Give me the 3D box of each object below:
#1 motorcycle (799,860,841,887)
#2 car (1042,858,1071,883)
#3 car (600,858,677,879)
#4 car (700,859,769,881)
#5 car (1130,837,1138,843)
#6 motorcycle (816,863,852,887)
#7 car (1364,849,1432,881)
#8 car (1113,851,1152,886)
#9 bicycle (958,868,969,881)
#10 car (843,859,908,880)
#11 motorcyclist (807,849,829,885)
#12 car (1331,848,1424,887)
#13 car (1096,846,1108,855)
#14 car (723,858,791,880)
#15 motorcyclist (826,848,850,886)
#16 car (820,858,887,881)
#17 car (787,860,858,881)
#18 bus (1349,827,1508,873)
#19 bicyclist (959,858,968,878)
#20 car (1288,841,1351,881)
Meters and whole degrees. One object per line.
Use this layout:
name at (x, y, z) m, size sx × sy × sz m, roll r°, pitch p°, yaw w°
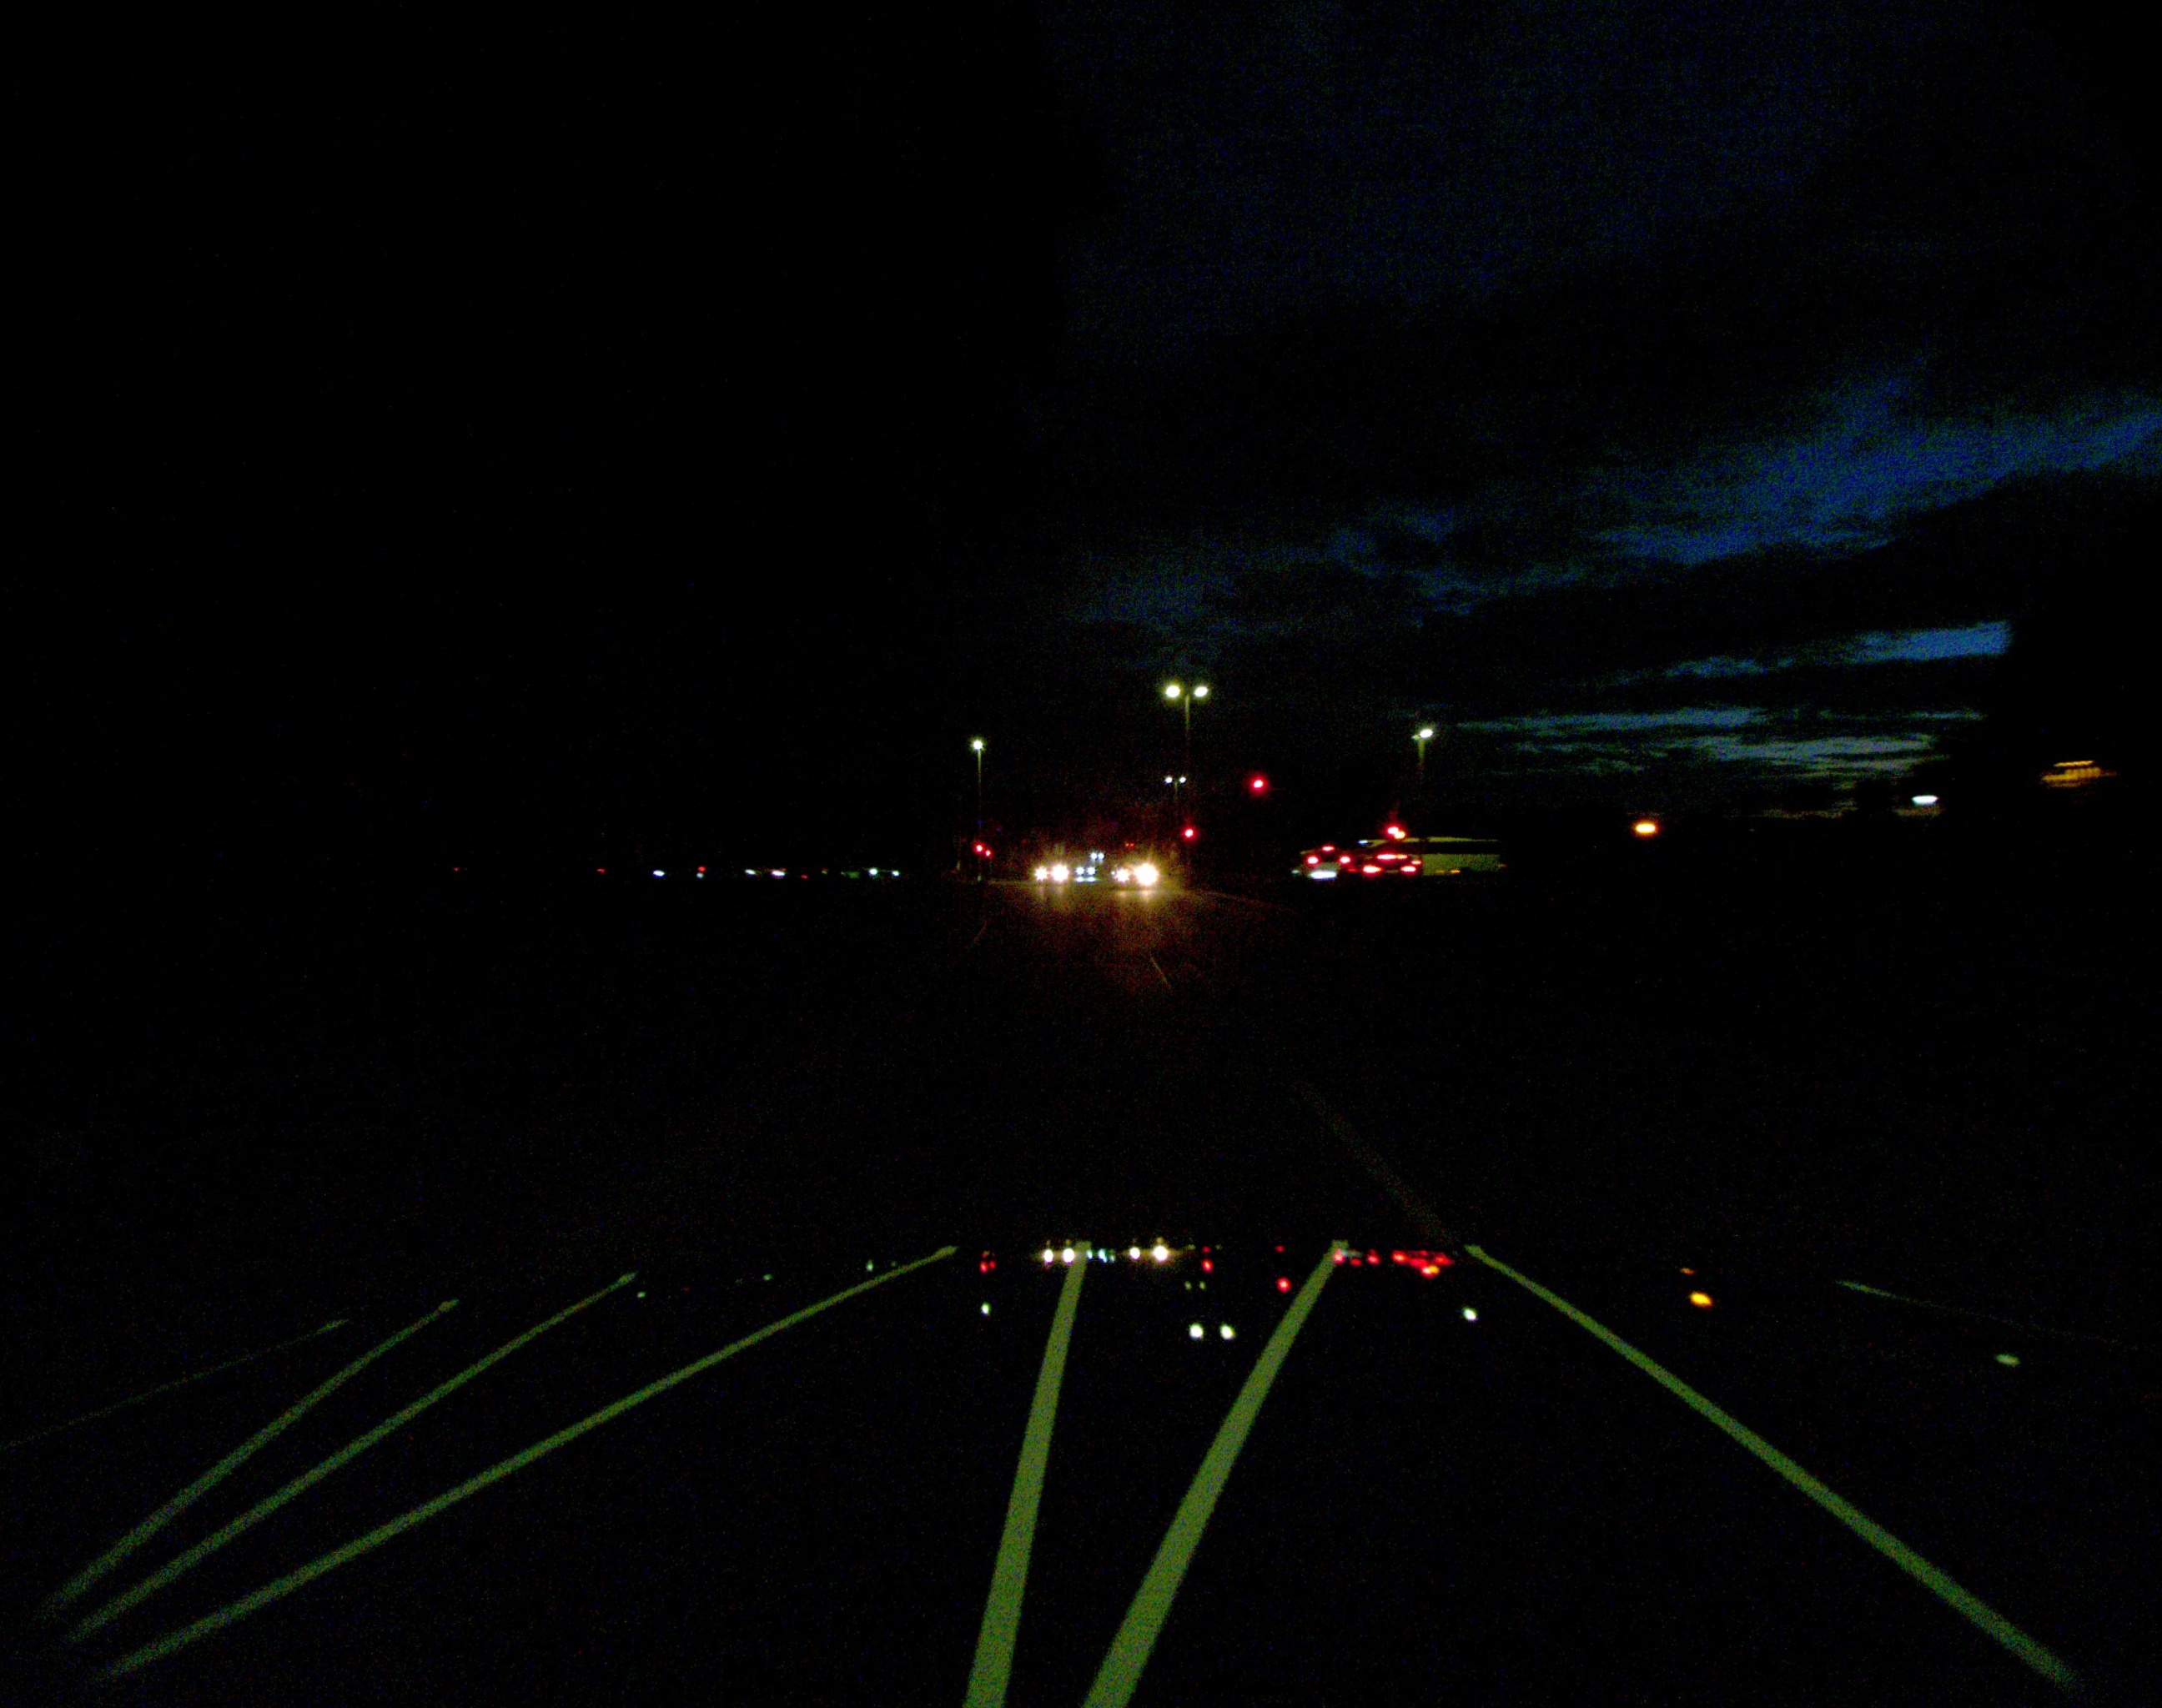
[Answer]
motorcycle at (-13.258, 0.973, 38.584) m, size 1.824 × 1.175 × 0.847 m, roll -4°, pitch 4°, yaw -32°
car at (-1.500, 0.985, 46.769) m, size 1.670 × 1.472 × 3.776 m, roll -1°, pitch 0°, yaw -2°
car at (-31.005, 1.010, 53.292) m, size 4.392 × 1.382 × 1.838 m, roll 0°, pitch 0°, yaw 4°
car at (-24.327, 1.122, 53.405) m, size 3.996 × 1.516 × 1.838 m, roll 0°, pitch 0°, yaw 4°
car at (15.587, -4.163, 223.461) m, size 1.739 × 1.564 × 4.058 m, roll -2°, pitch 1°, yaw -1°
motorcycle at (-12.305, 1.052, 37.839) m, size 1.579 × 1.028 × 0.721 m, roll -5°, pitch 5°, yaw -26°
car at (14.858, 0.503, 35.835) m, size 1.773 × 1.439 × 3.782 m, roll 0°, pitch -1°, yaw 3°
car at (2.543, 0.686, 38.282) m, size 1.670 × 1.643 × 4.411 m, roll 0°, pitch 0°, yaw 0°
bicycle at (-10.075, 1.769, 65.146) m, size 0.695 × 1.094 × 2.068 m, roll 0°, pitch -1°, yaw -2°
car at (-16.256, 1.203, 60.124) m, size 4.580 × 1.623 × 1.858 m, roll 0°, pitch 0°, yaw 4°
motorcyclist at (-13.331, 0.651, 38.489) m, size 0.791 × 1.750 × 0.682 m, roll -5°, pitch 5°, yaw -32°
car at (11.378, 0.503, 29.535) m, size 1.875 × 1.389 × 4.839 m, roll -1°, pitch 0°, yaw 2°
car at (4.064, -0.686, 144.987) m, size 1.696 × 1.586 × 3.929 m, roll -1°, pitch -1°, yaw 11°
car at (-24.261, 1.115, 57.000) m, size 4.357 × 1.617 × 1.752 m, roll 0°, pitch -1°, yaw 4°
motorcyclist at (-12.134, 0.648, 37.896) m, size 0.871 × 1.799 × 0.914 m, roll -5°, pitch 5°, yaw -26°
car at (-16.872, 1.153, 56.482) m, size 4.415 × 1.672 × 1.915 m, roll 0°, pitch -1°, yaw 4°
car at (-18.030, 1.151, 53.123) m, size 4.286 × 1.437 × 1.787 m, roll 0°, pitch -1°, yaw 5°
bus at (29.498, -0.296, 64.907) m, size 12.264 × 3.767 × 2.617 m, roll -1°, pitch -1°, yaw 2°
bicyclist at (-10.101, 1.211, 65.236) m, size 0.603 × 1.641 × 1.000 m, roll 0°, pitch 0°, yaw -2°
car at (11.634, 0.353, 37.387) m, size 1.848 × 1.803 × 4.776 m, roll 0°, pitch -1°, yaw 3°
